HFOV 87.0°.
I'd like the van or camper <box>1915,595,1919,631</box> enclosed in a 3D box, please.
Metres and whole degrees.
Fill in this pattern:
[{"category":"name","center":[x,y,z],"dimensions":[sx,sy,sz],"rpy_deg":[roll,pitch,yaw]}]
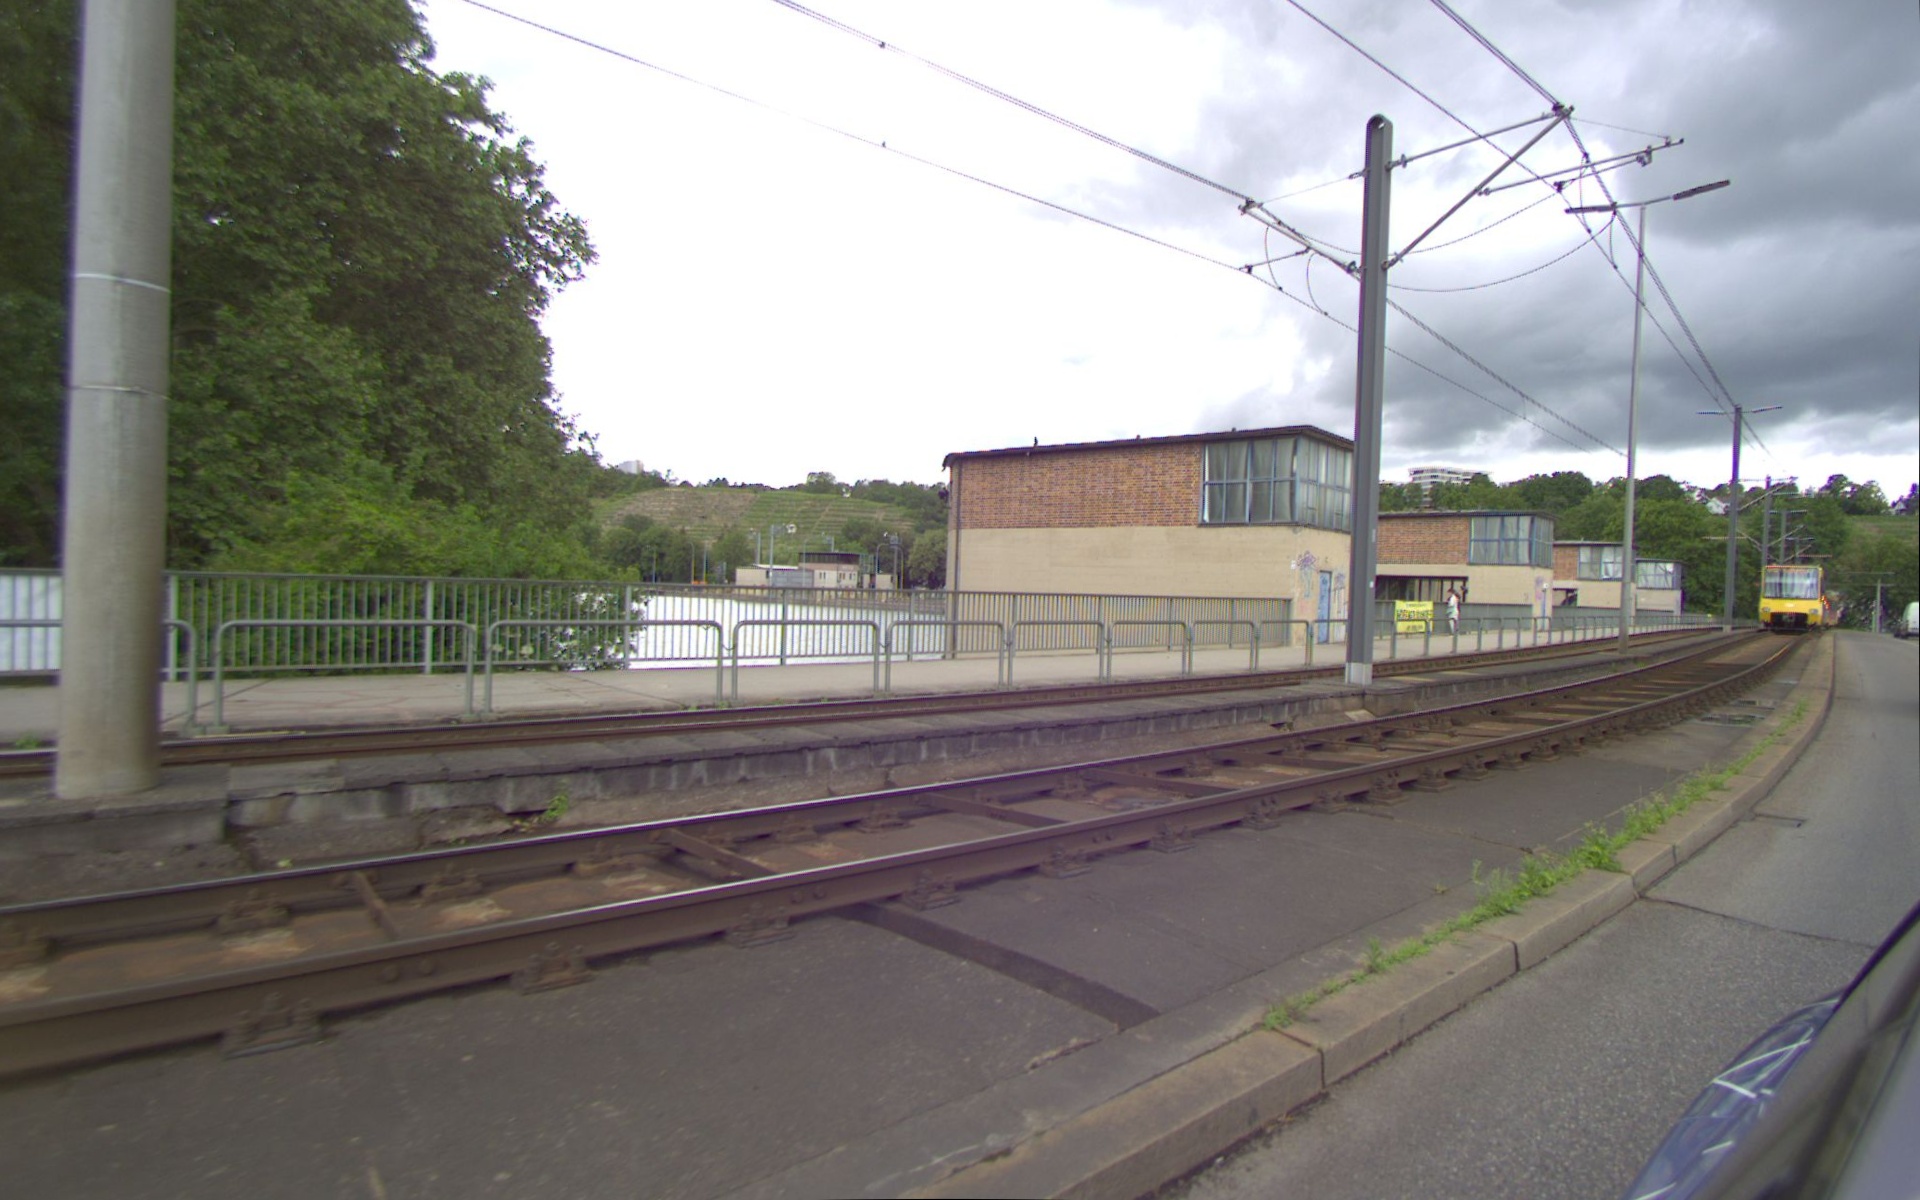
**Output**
[{"category":"van or camper","center":[68.449,0.951,70.793],"dimensions":[2.148,2.507,4.640],"rpy_deg":[1,0,41]}]

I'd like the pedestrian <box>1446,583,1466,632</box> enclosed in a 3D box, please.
[{"category":"pedestrian","center":[17.347,0.260,35.395],"dimensions":[0.509,1.686,0.347],"rpy_deg":[2,1,38]}]

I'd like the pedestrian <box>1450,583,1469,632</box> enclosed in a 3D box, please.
[{"category":"pedestrian","center":[17.606,0.255,35.685],"dimensions":[0.509,1.686,0.347],"rpy_deg":[2,1,38]}]

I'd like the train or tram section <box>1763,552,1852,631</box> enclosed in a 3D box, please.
[{"category":"train or tram section","center":[46.394,-0.468,55.290],"dimensions":[3.023,3.967,9.292],"rpy_deg":[2,1,44]}]
